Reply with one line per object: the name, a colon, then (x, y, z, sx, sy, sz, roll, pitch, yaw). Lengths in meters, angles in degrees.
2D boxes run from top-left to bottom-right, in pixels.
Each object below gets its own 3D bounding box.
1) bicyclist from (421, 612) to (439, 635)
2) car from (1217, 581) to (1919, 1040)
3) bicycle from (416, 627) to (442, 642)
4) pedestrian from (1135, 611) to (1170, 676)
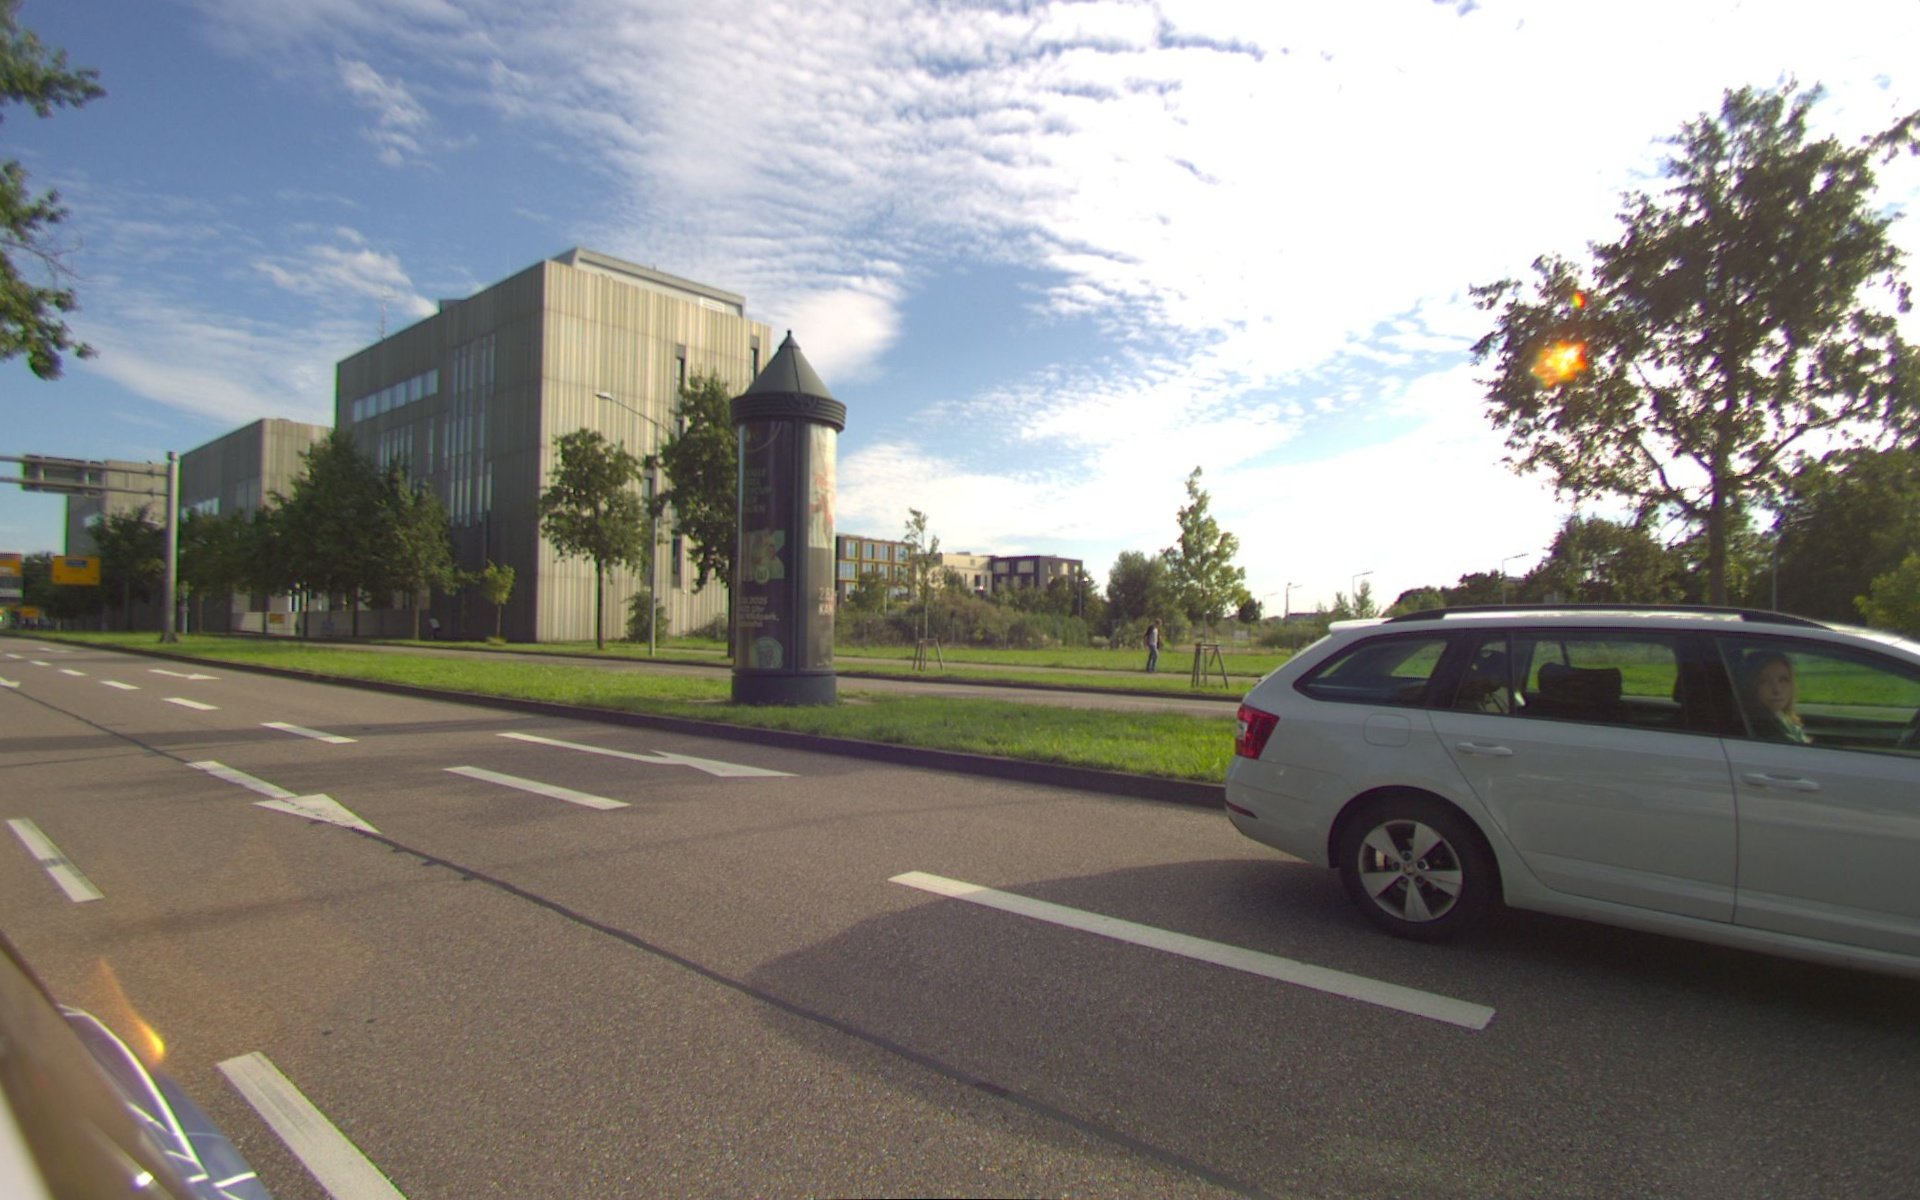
bicyclist: (-34.731, 1.545, 66.305, 0.989, 1.537, 0.698, -1, -3, 41)
car: (3.497, 0.702, 4.157, 4.479, 1.510, 1.681, -1, -1, 41)
bicycle: (-34.834, 2.243, 66.353, 1.910, 0.989, 0.885, -1, -3, 41)
pedestrian: (6.127, 1.374, 32.190, 0.867, 2.029, 0.667, -1, -3, 41)
